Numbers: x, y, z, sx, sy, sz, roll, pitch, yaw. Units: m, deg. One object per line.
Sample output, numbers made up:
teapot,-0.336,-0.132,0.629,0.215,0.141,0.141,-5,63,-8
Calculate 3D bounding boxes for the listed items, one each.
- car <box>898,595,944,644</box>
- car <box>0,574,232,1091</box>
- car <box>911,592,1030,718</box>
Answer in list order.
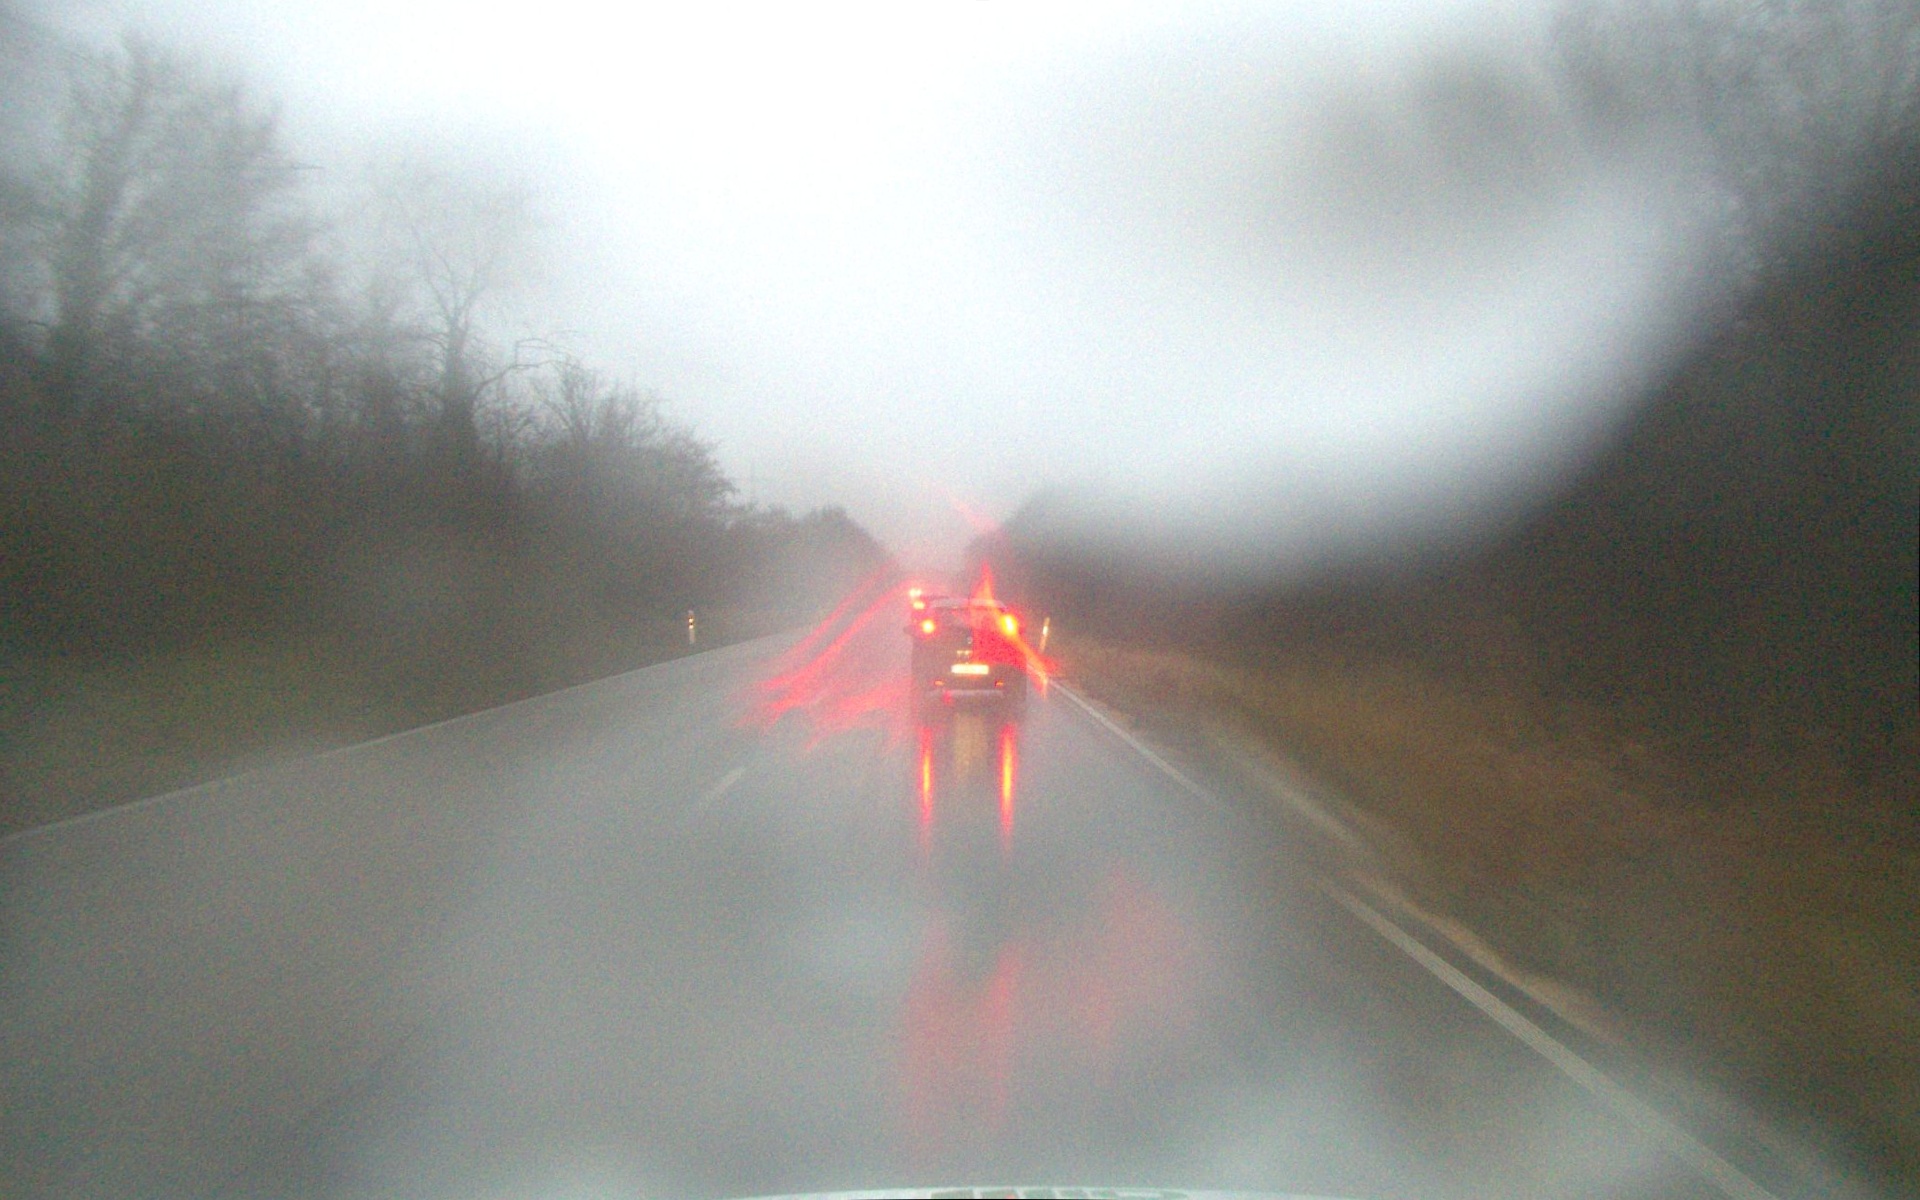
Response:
car,-1.502,0.744,64.202,1.698,1.810,3.999,1,0,-1
car,-3.629,0.684,3.587,1.664,1.522,5.663,1,0,-1
car,0.116,0.757,24.509,1.614,1.701,3.513,1,0,-1
